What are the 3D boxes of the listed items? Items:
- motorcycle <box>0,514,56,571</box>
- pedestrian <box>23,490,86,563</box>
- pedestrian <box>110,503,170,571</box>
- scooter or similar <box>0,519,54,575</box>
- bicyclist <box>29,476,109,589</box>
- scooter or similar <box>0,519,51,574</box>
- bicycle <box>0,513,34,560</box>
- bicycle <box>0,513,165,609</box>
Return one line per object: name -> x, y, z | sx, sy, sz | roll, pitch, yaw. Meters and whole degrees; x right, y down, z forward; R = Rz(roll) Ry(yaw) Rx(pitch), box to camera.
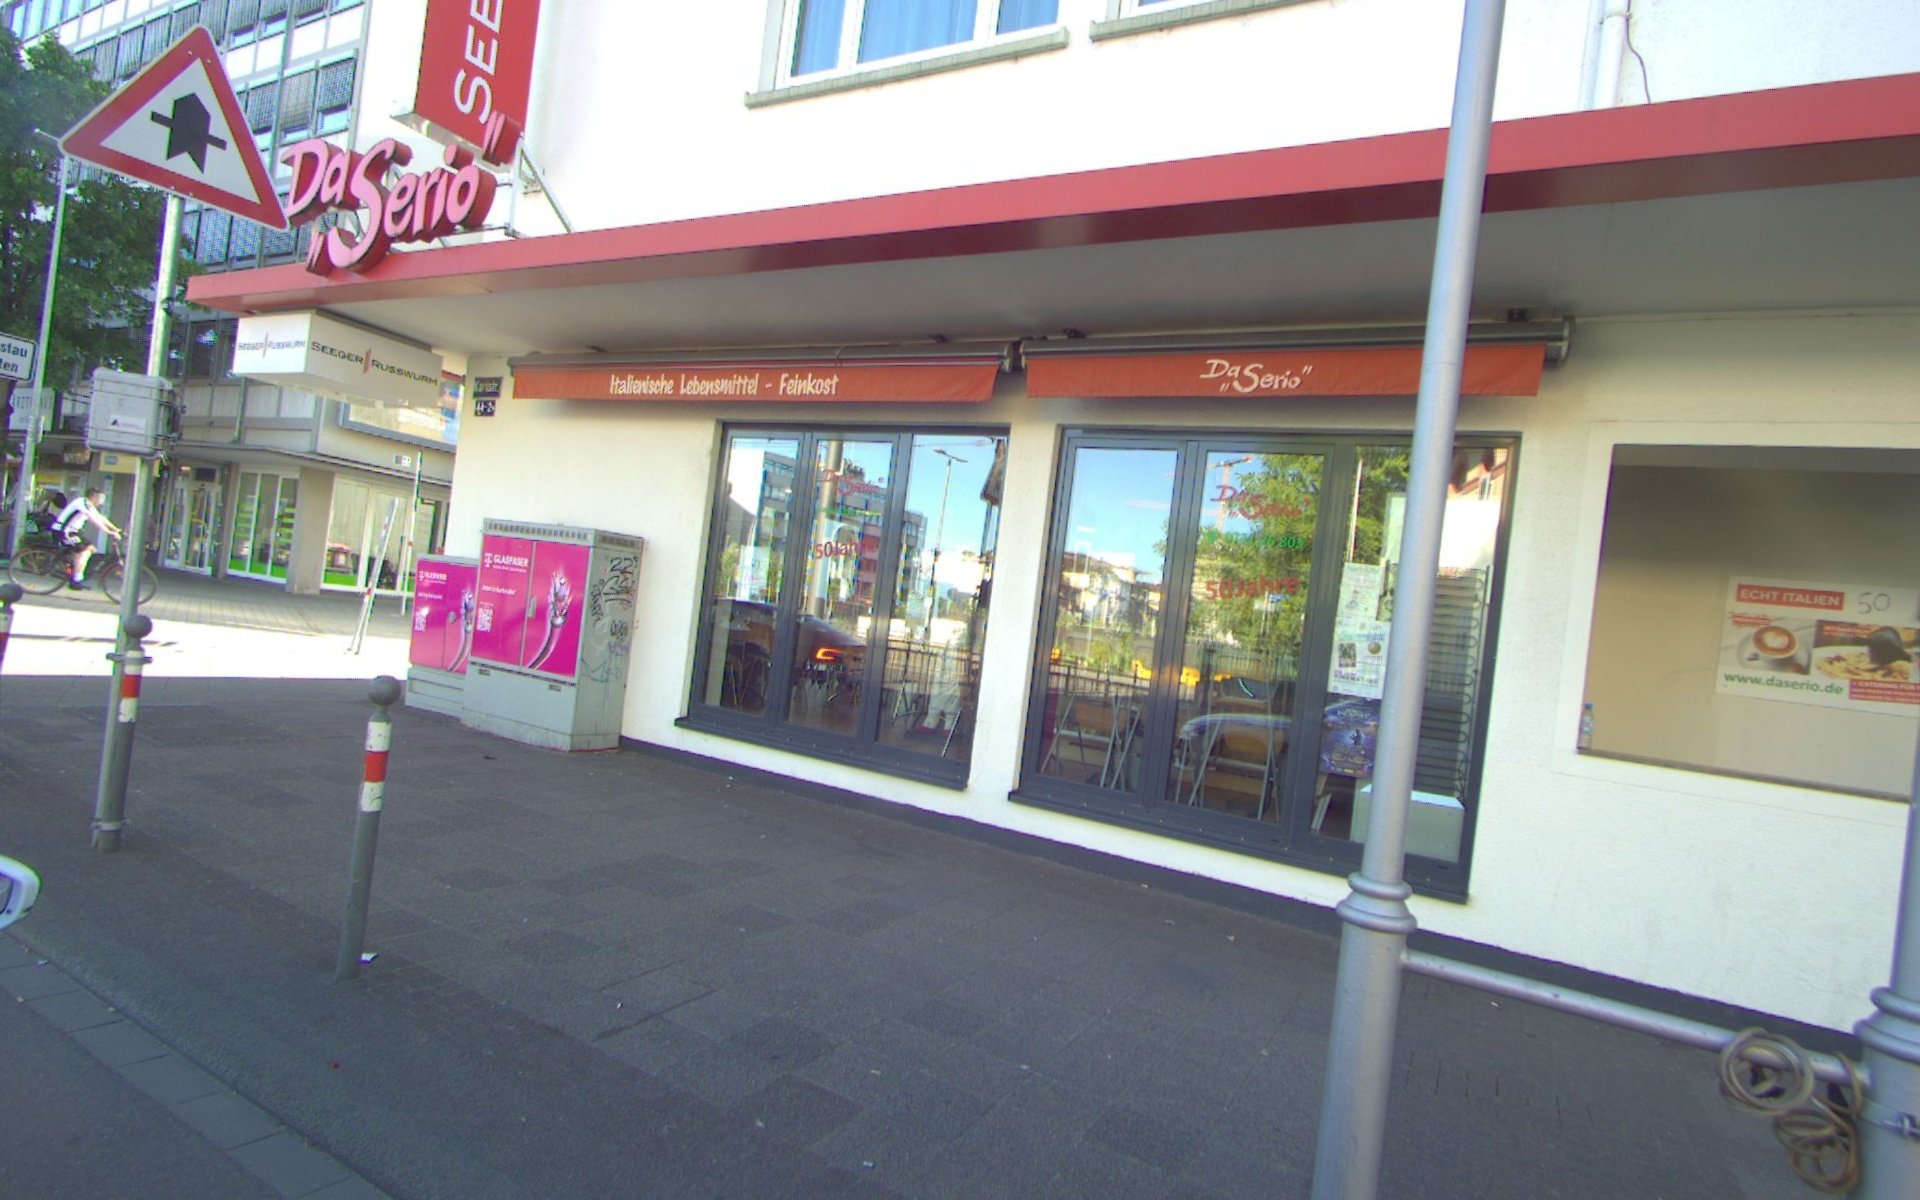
motorcycle -> -21.521, -1.351, 22.478 | 0.495, 1.142, 1.791 | 7, -2, 29
pedestrian -> -23.469, -1.910, 26.078 | 0.865, 1.727, 0.844 | 6, -1, 31
pedestrian -> -21.551, -1.662, 26.440 | 0.865, 1.621, 0.844 | 6, -1, 31
scooter or similar -> -19.689, -1.116, 21.071 | 0.157, 1.056, 0.964 | 7, -1, 34
bicyclist -> -13.935, -1.039, 15.754 | 0.676, 1.650, 0.574 | 8, -1, -32
scooter or similar -> -19.851, -1.121, 21.181 | 0.157, 1.051, 0.957 | 7, -1, 34
bicycle -> -23.125, -1.566, 23.726 | 0.392, 1.069, 1.856 | 7, 0, 21
bicycle -> -13.802, -0.596, 15.866 | 1.808, 1.226, 0.577 | 8, -2, -32
